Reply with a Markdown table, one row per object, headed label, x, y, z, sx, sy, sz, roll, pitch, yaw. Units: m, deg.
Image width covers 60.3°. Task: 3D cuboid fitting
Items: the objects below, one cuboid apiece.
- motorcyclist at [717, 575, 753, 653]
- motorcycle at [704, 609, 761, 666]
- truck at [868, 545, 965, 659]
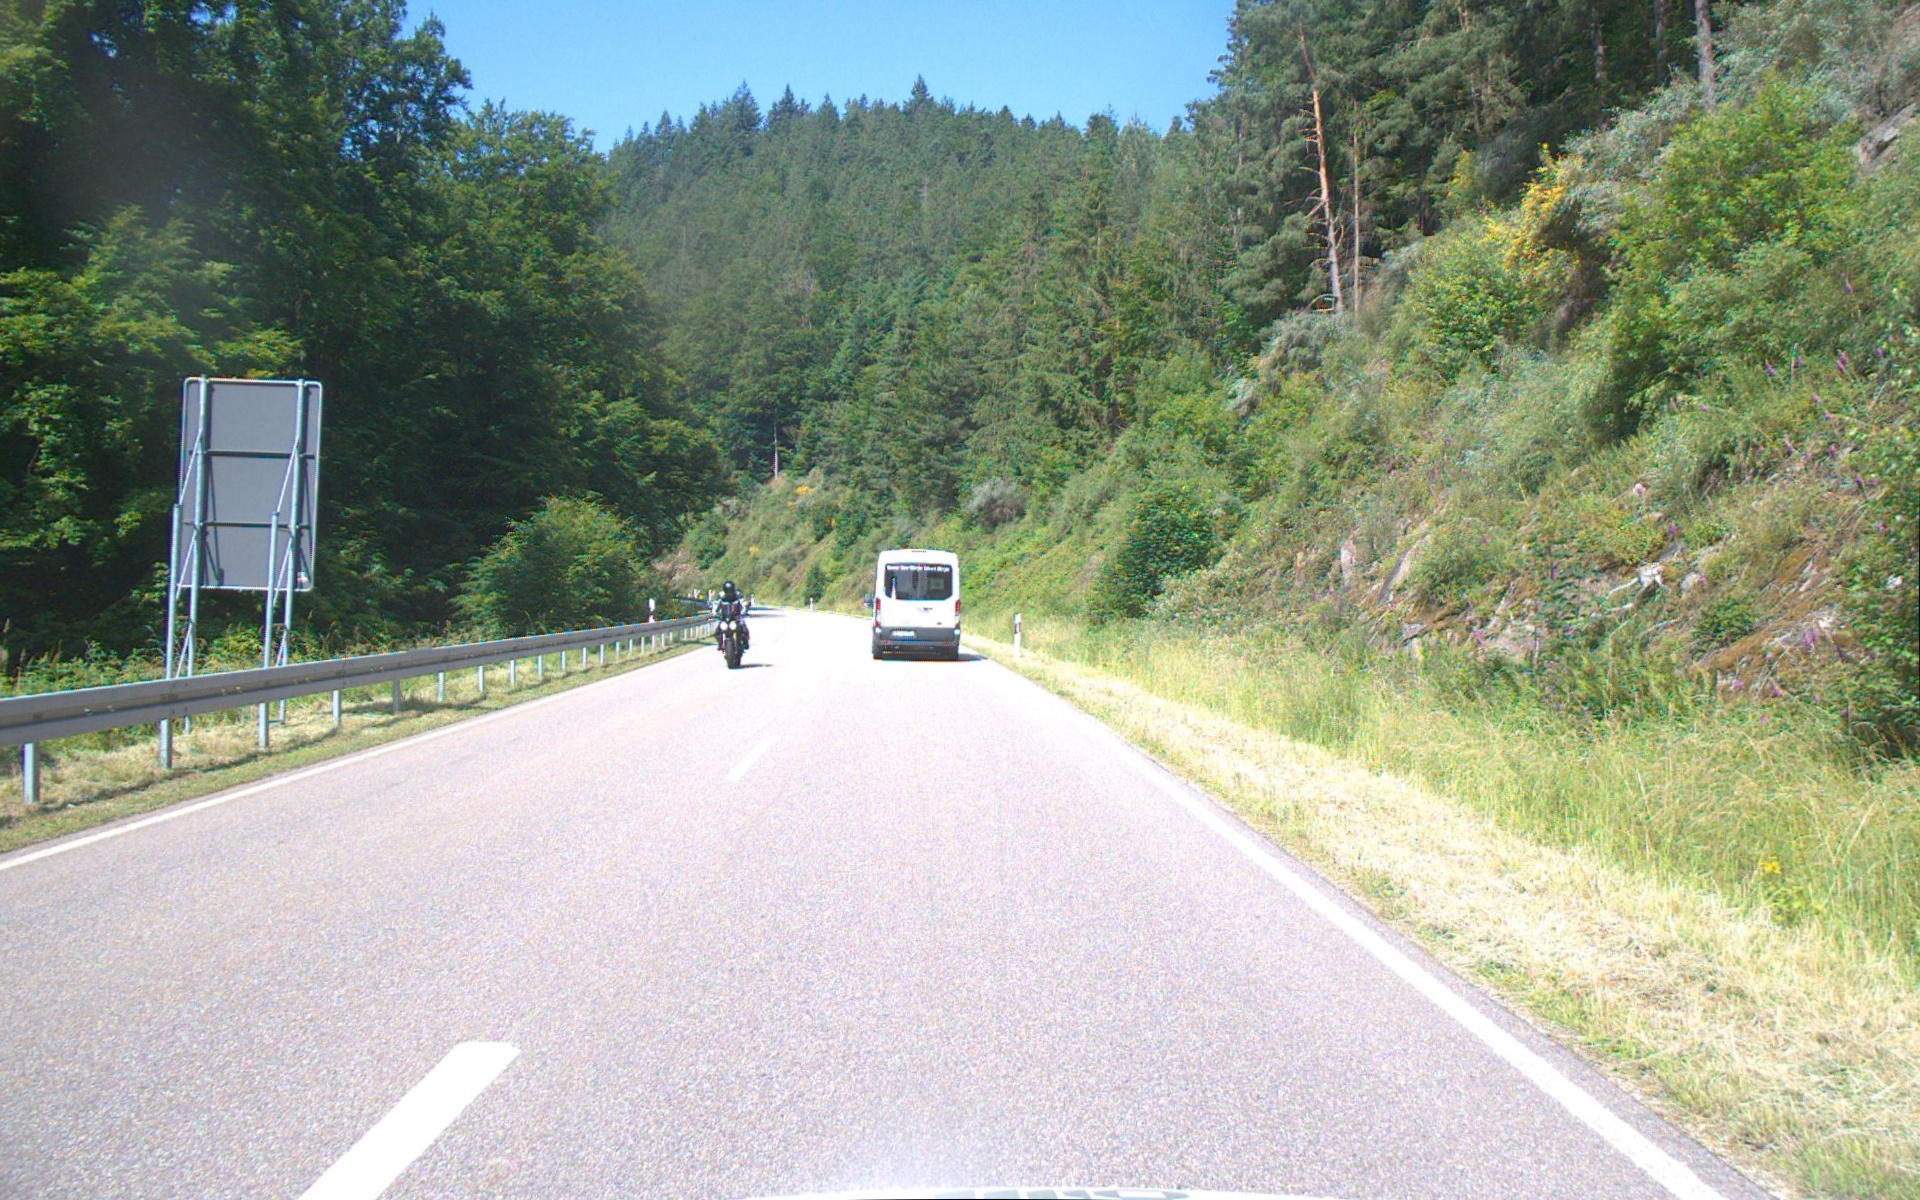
| label | x | y | z | sx | sy | sz | roll | pitch | yaw |
| --- | --- | --- | --- | --- | --- | --- | --- | --- | --- |
| motorcyclist | -4.548 | 0.275 | 33.423 | 0.645 | 1.539 | 0.933 | 0 | 0 | -4 |
| motorcycle | -4.574 | 0.743 | 33.367 | 0.965 | 1.090 | 1.962 | 1 | 0 | -3 |
| truck | -1.104 | 0.031 | 39.253 | 2.043 | 2.502 | 4.870 | 1 | 0 | -5 |
